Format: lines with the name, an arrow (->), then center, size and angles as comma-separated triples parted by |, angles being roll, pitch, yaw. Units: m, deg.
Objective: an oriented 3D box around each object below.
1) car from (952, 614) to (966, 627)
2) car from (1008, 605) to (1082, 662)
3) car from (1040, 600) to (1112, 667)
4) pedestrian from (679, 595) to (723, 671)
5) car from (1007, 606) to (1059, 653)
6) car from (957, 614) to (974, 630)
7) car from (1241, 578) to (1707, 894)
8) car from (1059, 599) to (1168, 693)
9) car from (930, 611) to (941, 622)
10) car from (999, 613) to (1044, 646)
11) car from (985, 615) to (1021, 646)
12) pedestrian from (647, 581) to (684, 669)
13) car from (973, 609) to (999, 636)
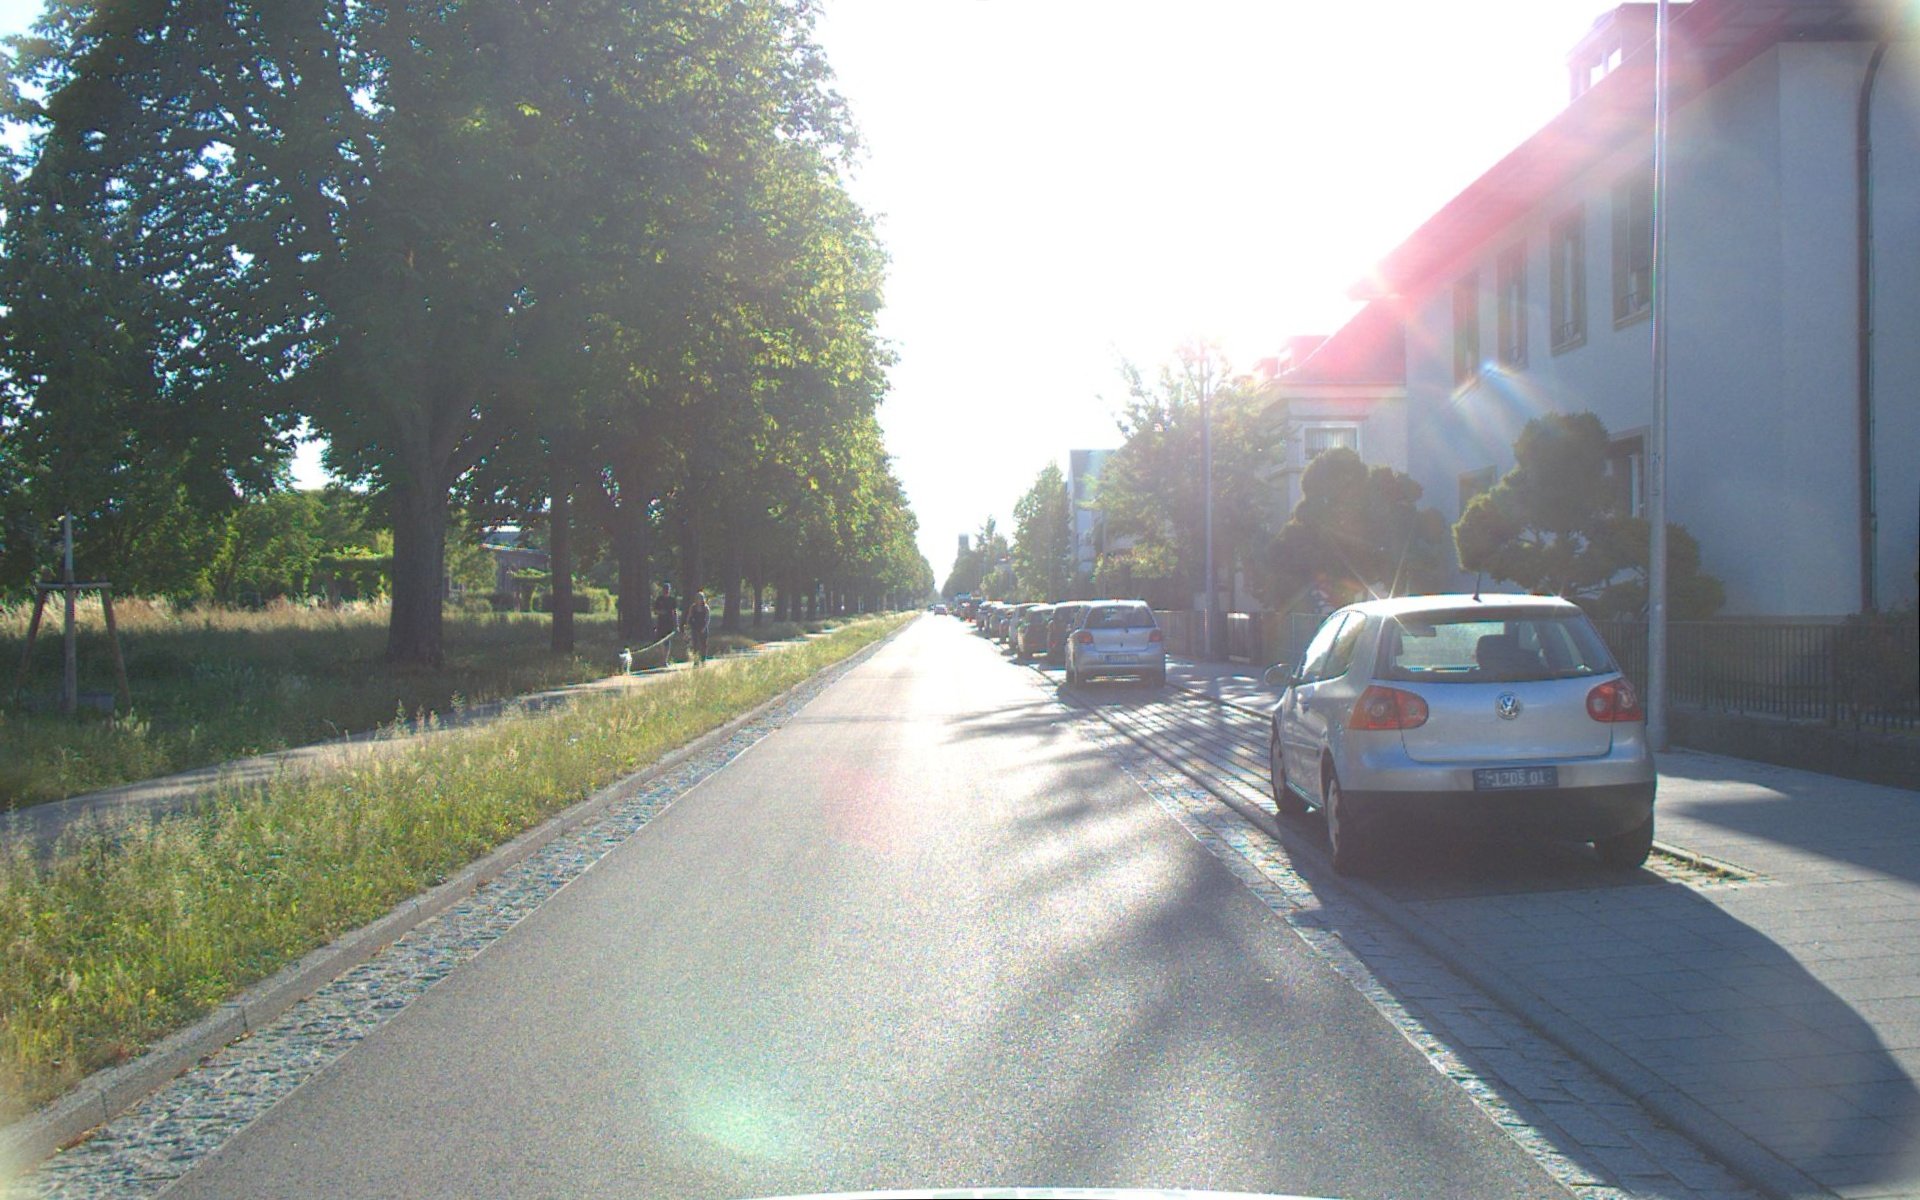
car -> -0.091, 2.472, 204.364 | 1.618, 1.568, 3.266 | 1, -1, 0
car -> 2.354, 0.932, 46.644 | 1.702, 1.474, 4.195 | -2, -1, -2
car -> 2.827, 0.810, 40.835 | 1.623, 1.520, 3.717 | -2, -1, 3
pedestrian -> -5.617, 0.707, 35.950 | 0.767, 1.643, 0.952 | 0, 0, 3
car -> 2.447, 0.992, 56.065 | 1.560, 1.536, 3.591 | -1, -1, 0
car -> 0.512, 2.106, 160.094 | 1.618, 1.568, 3.266 | 1, -1, 0
car -> 2.928, 0.696, 10.325 | 1.708, 1.500, 3.923 | -3, 0, 1
car -> 2.742, 0.789, 30.222 | 1.594, 1.531, 3.633 | -2, 0, 0
car -> -3.489, 2.323, 235.740 | 1.618, 1.568, 3.266 | 1, -1, -1
car -> 2.450, 1.158, 66.277 | 1.658, 1.270, 3.497 | -1, -1, 0
car -> 2.037, 1.455, 79.395 | 1.618, 1.421, 3.266 | -1, -1, 0
pedestrian -> -6.367, 0.534, 35.818 | 0.611, 1.863, 0.886 | 0, 0, 3
car -> 1.549, 1.328, 98.318 | 1.467, 1.594, 3.266 | -1, -1, 0
